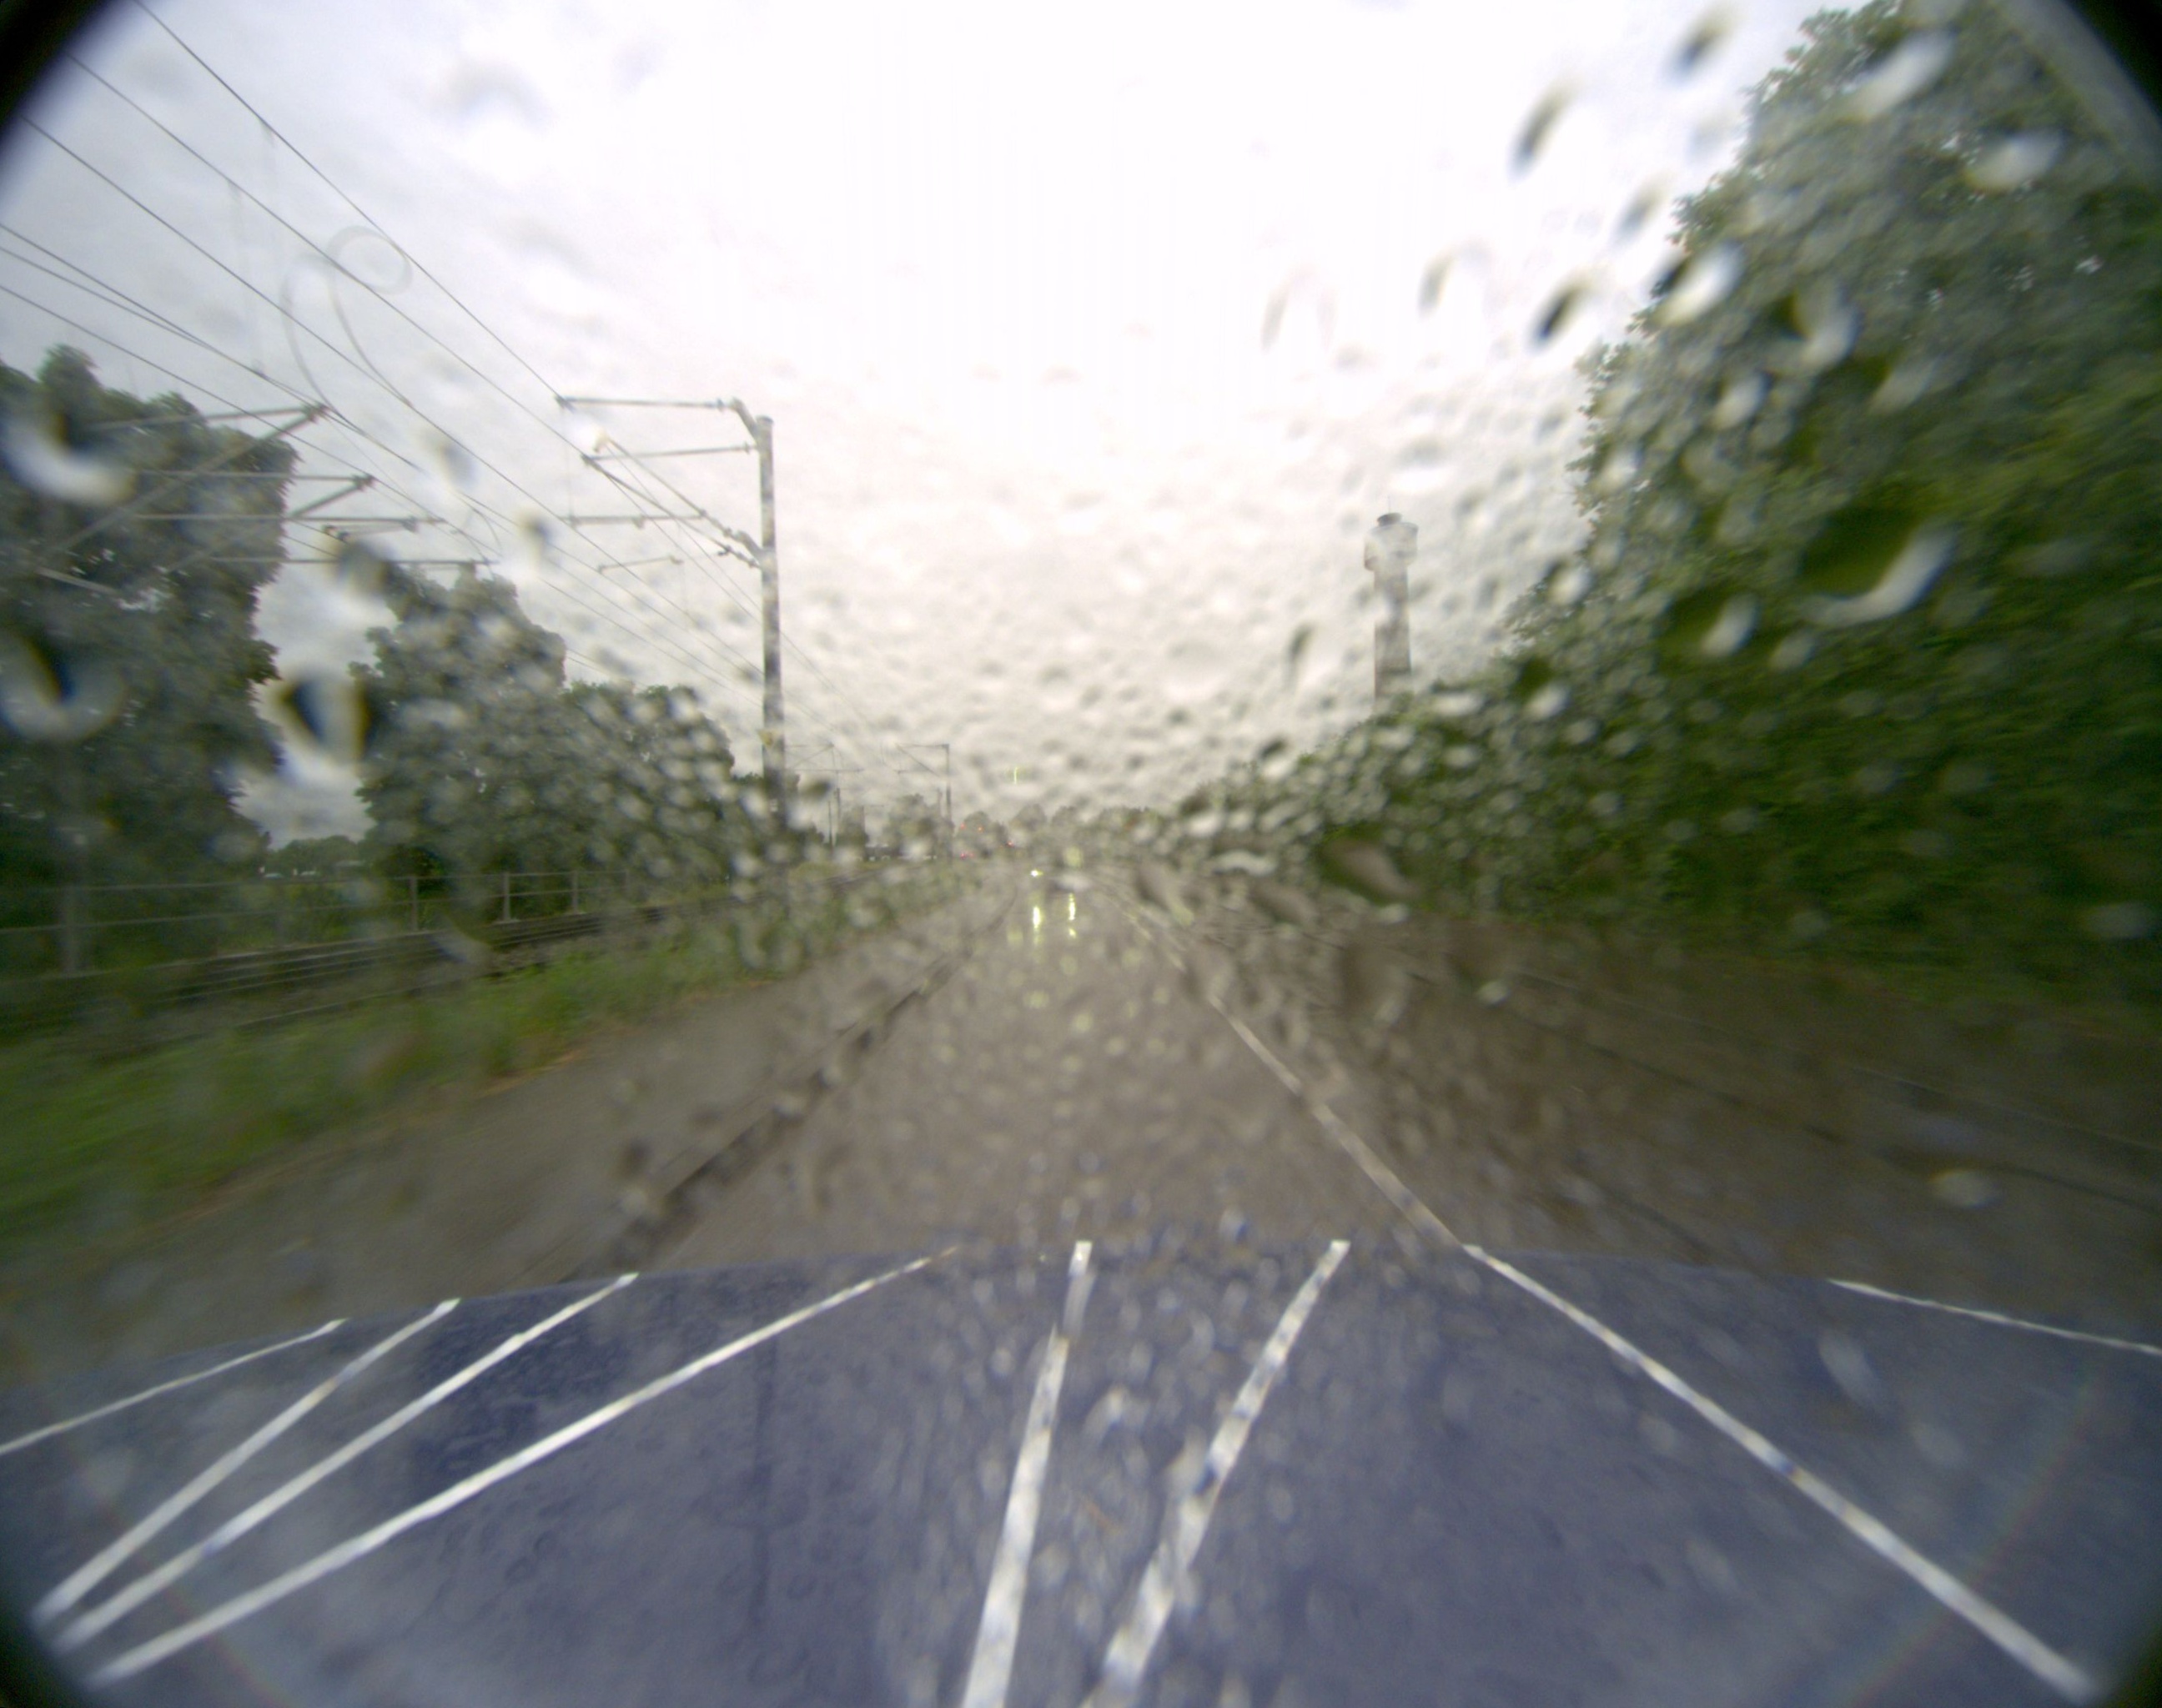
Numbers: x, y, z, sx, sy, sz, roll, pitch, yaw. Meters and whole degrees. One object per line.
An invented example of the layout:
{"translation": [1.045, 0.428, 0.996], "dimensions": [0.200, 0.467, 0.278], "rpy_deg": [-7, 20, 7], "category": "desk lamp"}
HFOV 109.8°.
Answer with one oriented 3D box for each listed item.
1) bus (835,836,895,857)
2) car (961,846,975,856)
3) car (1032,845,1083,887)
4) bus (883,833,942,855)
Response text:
{"translation": [-35.517, -1.248, 124.669], "dimensions": [9.970, 3.060, 2.682], "rpy_deg": [-2, 2, 24], "category": "bus"}
{"translation": [-18.452, -0.477, 124.096], "dimensions": [1.769, 1.528, 3.870], "rpy_deg": [-1, 1, -17], "category": "car"}
{"translation": [-1.047, 0.475, 32.995], "dimensions": [1.999, 1.623, 3.998], "rpy_deg": [-2, 1, -3], "category": "car"}
{"translation": [-26.649, -1.515, 119.731], "dimensions": [9.967, 3.060, 2.683], "rpy_deg": [-1, 2, 33], "category": "bus"}
